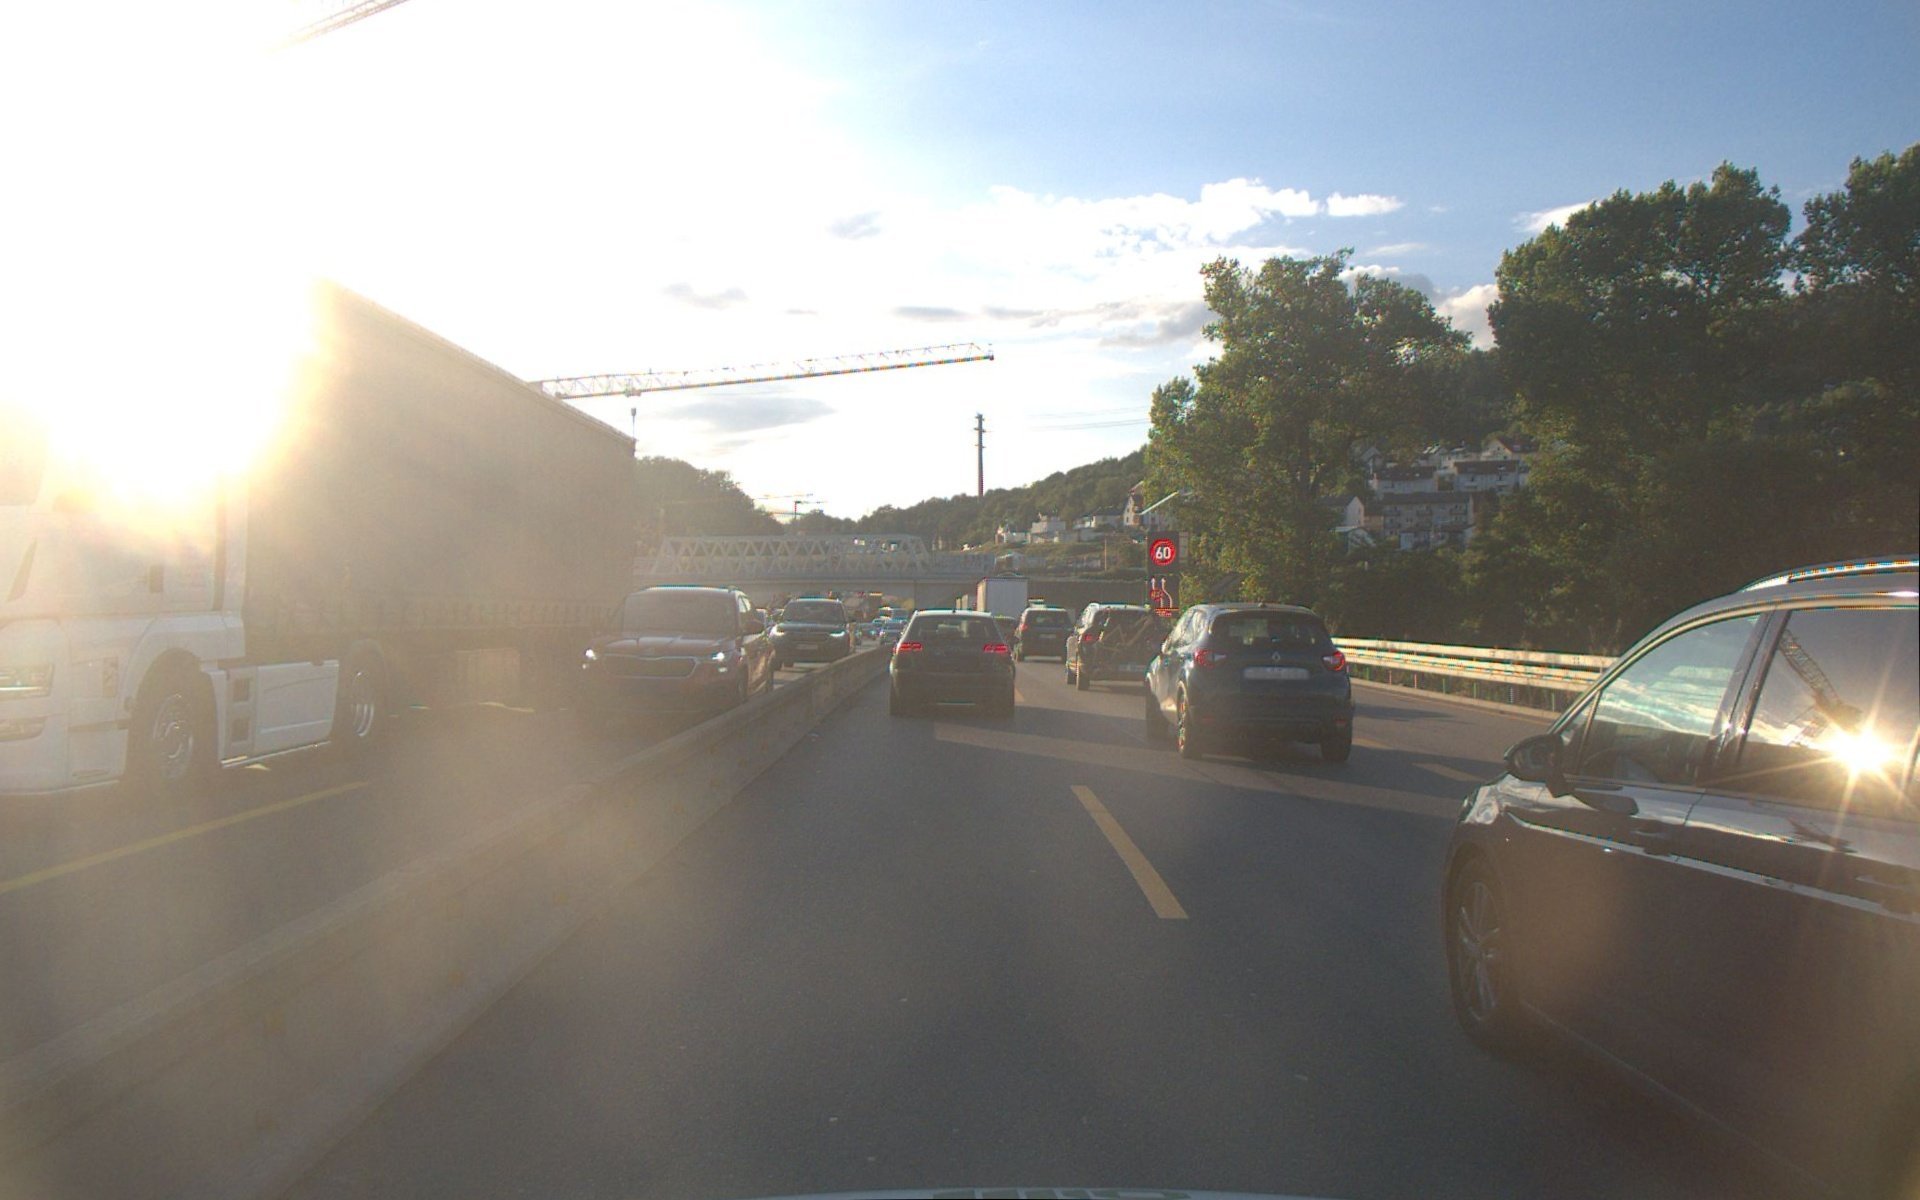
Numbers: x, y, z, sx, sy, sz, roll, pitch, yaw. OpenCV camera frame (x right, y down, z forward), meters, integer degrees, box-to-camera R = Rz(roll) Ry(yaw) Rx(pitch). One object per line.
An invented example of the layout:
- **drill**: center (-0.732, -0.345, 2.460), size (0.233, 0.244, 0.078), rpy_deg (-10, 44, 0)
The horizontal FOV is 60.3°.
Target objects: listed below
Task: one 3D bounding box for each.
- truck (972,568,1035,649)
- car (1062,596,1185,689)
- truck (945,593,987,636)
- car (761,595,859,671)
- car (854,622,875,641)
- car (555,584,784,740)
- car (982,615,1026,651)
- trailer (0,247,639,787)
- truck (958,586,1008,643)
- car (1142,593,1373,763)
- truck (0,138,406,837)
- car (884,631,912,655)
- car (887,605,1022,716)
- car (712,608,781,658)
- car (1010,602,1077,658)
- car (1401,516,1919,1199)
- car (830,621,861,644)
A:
- **truck**: center (2.577, 0.344, 102.991), size (3.316, 4.576, 15.266), rpy_deg (1, 1, 0)
- **car**: center (3.032, 0.804, 31.632), size (1.837, 1.627, 4.965), rpy_deg (0, -1, 0)
- **truck**: center (0.564, 1.577, 185.034), size (3.813, 4.577, 13.838), rpy_deg (1, 0, -3)
- **car**: center (-3.537, 0.765, 39.670), size (1.953, 1.673, 4.511), rpy_deg (1, -1, -1)
- **car**: center (-8.506, 2.816, 147.897), size (1.676, 1.579, 3.999), rpy_deg (0, 0, -1)
- **car**: center (-3.313, 0.668, 19.791), size (1.953, 1.647, 4.604), rpy_deg (0, 0, 0)
- **car**: center (2.034, 1.552, 77.803), size (1.734, 1.580, 3.998), rpy_deg (2, -1, -3)
- **trailer**: center (-6.549, -0.588, 19.635), size (2.756, 4.121, 14.019), rpy_deg (0, 0, 0)
- **truck**: center (1.903, 1.178, 144.001), size (3.811, 4.577, 15.263), rpy_deg (1, 0, -1)
- **car**: center (3.111, 0.765, 18.096), size (1.738, 1.614, 4.134), rpy_deg (1, 0, 0)
- **truck**: center (-6.564, -0.648, 12.567), size (2.757, 4.119, 5.672), rpy_deg (0, -1, 0)
- **car**: center (-4.154, 2.891, 110.975), size (1.768, 1.538, 3.999), rpy_deg (1, -1, -1)
- **car**: center (-0.150, 0.811, 23.551), size (1.734, 1.414, 3.998), rpy_deg (1, -1, -3)
- **car**: center (-6.530, 0.992, 50.883), size (1.666, 1.471, 3.999), rpy_deg (0, 0, -1)
- **car**: center (2.590, 0.940, 52.134), size (1.778, 1.661, 4.409), rpy_deg (1, -1, -2)
- **car**: center (2.749, 0.704, 4.390), size (1.776, 1.643, 4.524), rpy_deg (2, -1, -2)
- **car**: center (-7.361, 2.126, 106.691), size (1.738, 1.407, 4.530), rpy_deg (0, -2, -1)
